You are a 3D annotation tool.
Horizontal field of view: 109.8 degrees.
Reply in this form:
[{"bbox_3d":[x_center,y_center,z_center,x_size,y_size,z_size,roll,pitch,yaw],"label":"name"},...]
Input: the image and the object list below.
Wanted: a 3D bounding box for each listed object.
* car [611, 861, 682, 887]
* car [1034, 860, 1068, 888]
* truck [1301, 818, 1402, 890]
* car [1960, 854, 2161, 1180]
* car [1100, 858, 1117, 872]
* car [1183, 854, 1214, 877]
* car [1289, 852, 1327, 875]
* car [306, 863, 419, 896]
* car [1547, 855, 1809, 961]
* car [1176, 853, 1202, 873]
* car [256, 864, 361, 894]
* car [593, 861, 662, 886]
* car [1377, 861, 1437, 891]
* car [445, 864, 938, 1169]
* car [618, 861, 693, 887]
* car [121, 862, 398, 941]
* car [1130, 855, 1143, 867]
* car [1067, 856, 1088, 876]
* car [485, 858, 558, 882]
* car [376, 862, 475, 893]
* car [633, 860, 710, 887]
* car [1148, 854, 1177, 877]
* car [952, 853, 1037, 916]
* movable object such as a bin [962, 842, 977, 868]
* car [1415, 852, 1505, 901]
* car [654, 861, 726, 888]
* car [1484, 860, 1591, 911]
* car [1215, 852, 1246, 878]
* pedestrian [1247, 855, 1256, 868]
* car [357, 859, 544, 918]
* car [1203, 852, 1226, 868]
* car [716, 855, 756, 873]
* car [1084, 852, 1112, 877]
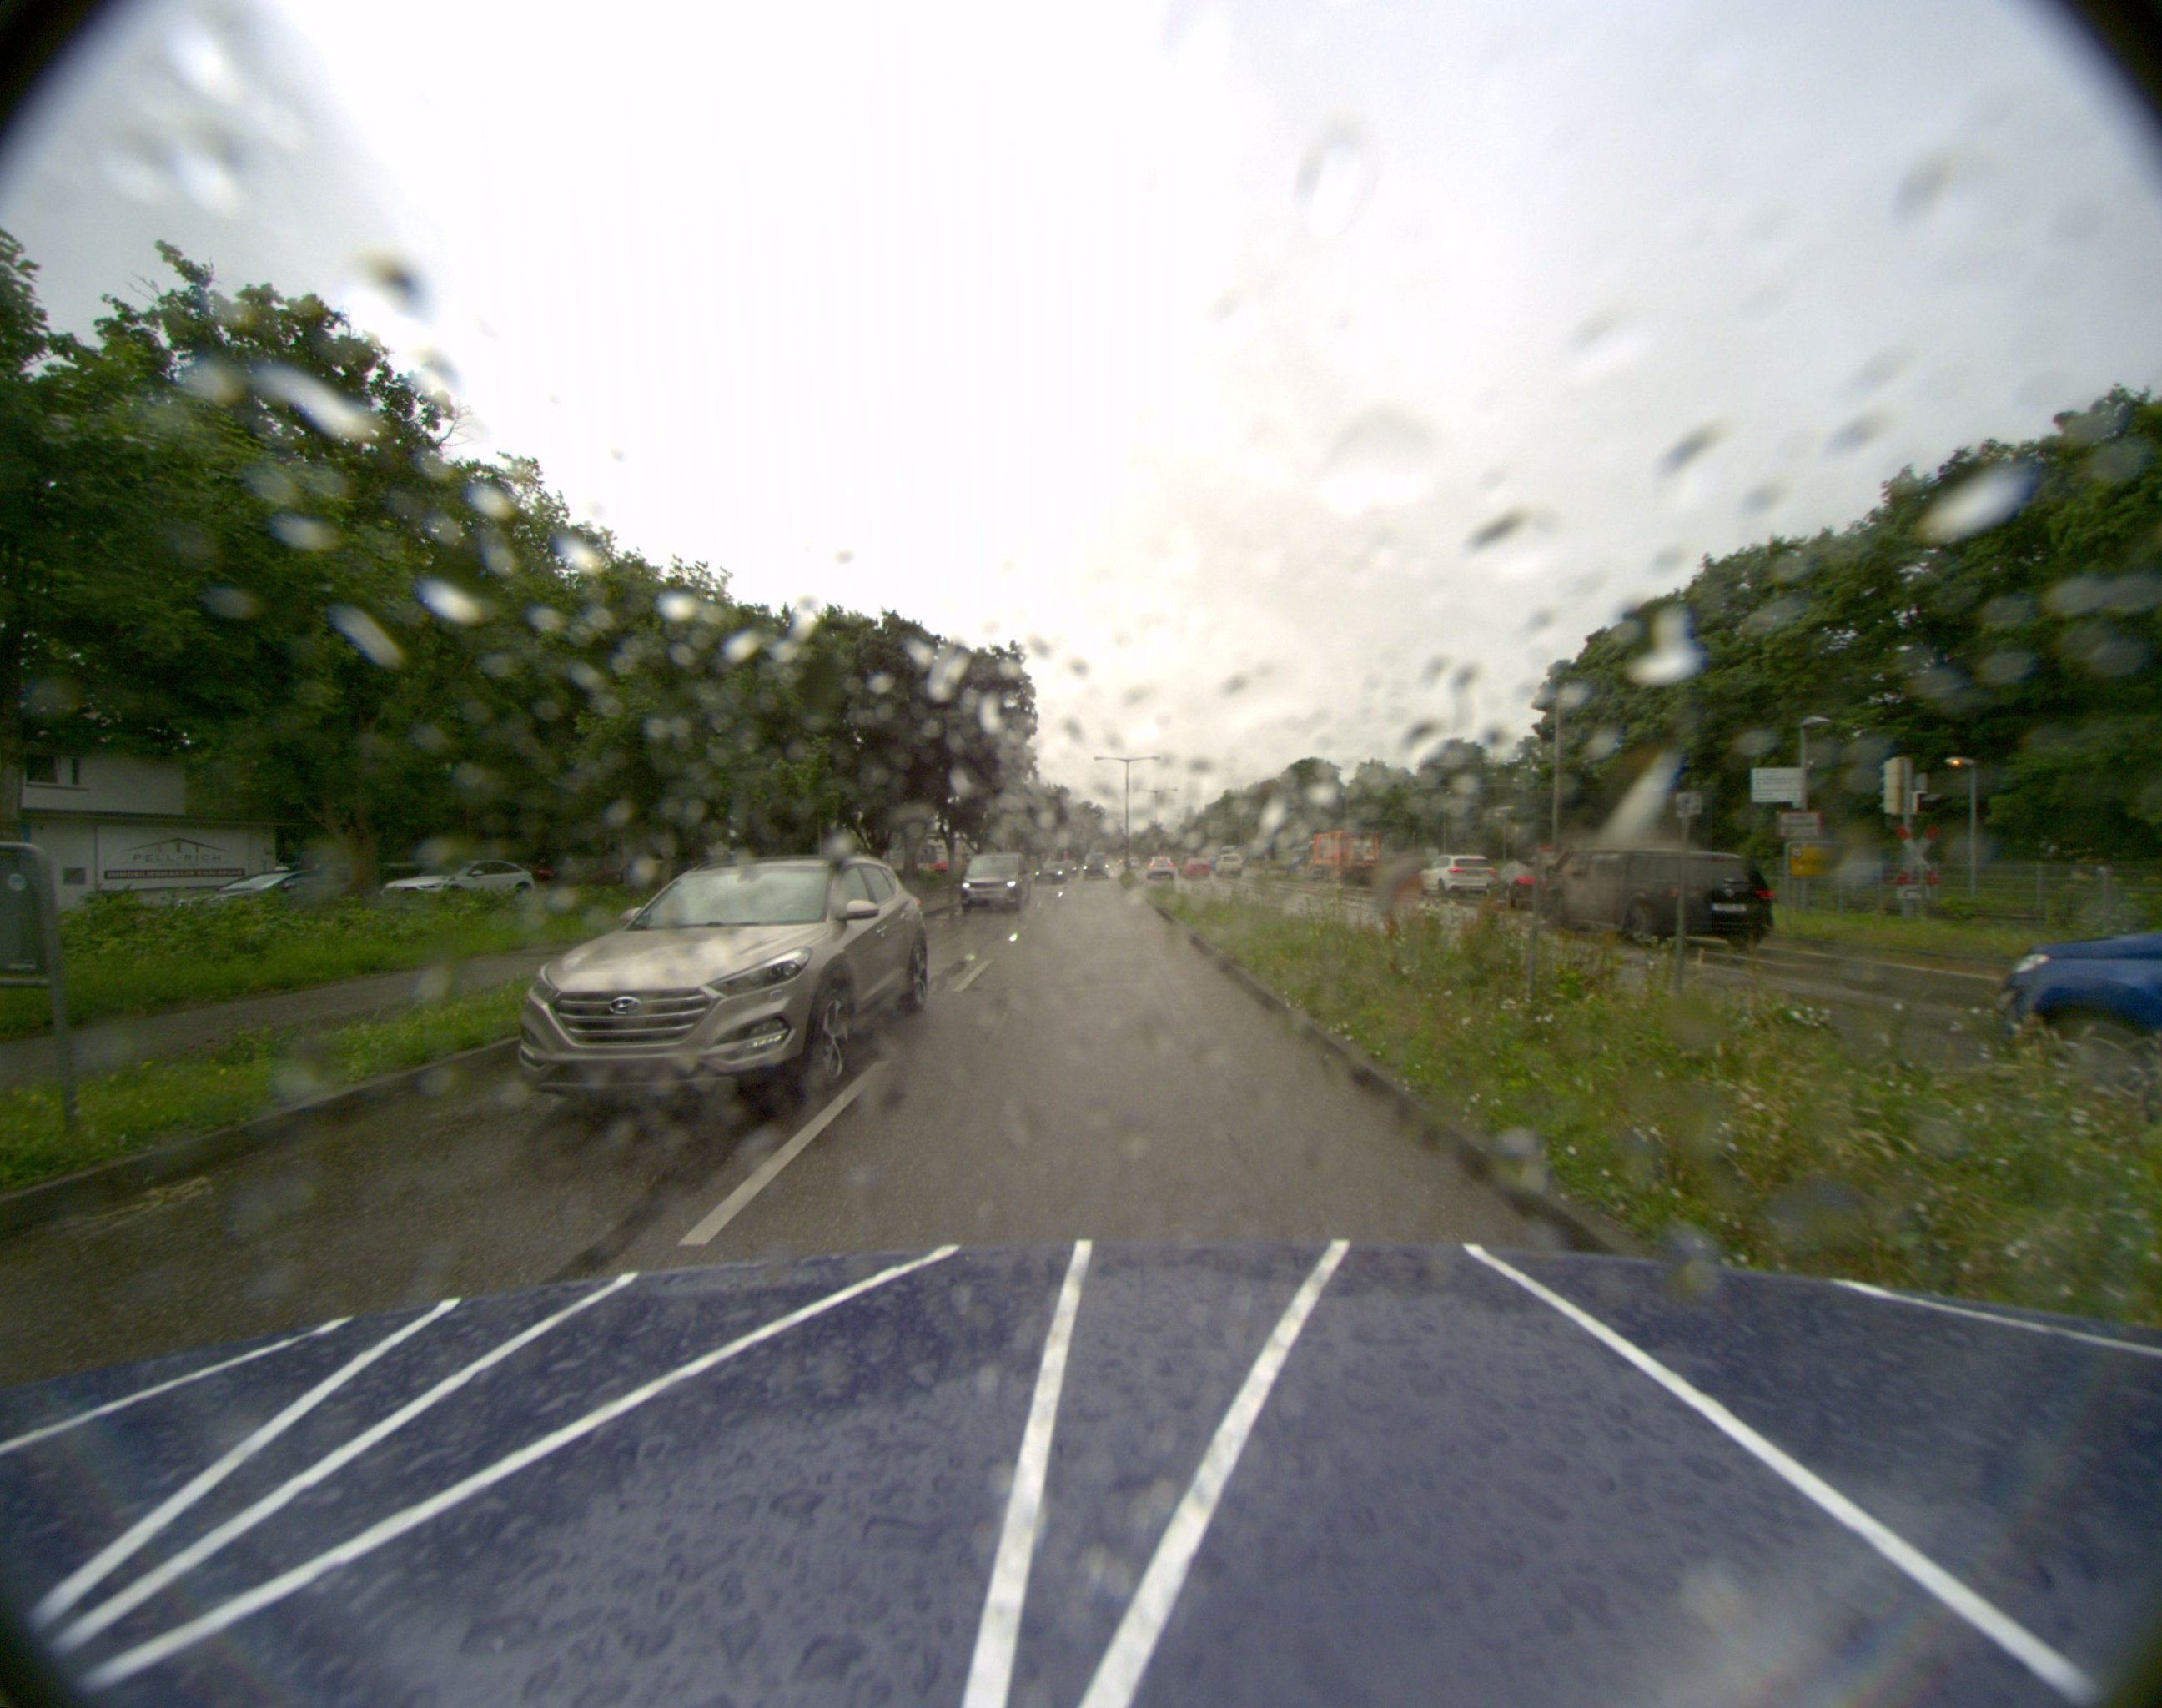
[{"bbox_3d":[-28.647,1.305,50.120,3.759,1.441,1.665,-3,1,-39],"label":"car"},{"bbox_3d":[-1.938,1.276,50.157,1.858,1.583,4.000,-3,1,3],"label":"car"},{"bbox_3d":[17.599,-0.033,50.335,3.392,4.143,10.408,-3,1,3],"label":"truck"},{"bbox_3d":[6.282,0.834,2.629,1.748,1.640,4.137,1,0,2],"label":"car"},{"bbox_3d":[3.550,1.345,96.513,1.898,1.601,4.001,-3,1,4],"label":"car"},{"bbox_3d":[8.778,0.818,57.150,1.805,1.560,4.429,1,1,3],"label":"car"},{"bbox_3d":[18.634,0.719,62.471,1.998,1.699,4.527,-3,1,4],"label":"car"},{"bbox_3d":[-34.946,1.179,37.102,1.587,1.377,4.000,-3,0,1],"label":"car"},{"bbox_3d":[10.680,0.844,14.081,1.710,1.632,4.332,1,0,5],"label":"car"},{"bbox_3d":[9.623,0.779,68.015,1.810,1.763,5.090,1,0,3],"label":"car"},{"bbox_3d":[-43.242,1.376,42.591,3.997,1.448,1.735,-3,1,-1],"label":"car"},{"bbox_3d":[-30.667,1.287,51.388,3.759,1.441,1.599,-3,1,-39],"label":"car"},{"bbox_3d":[16.613,1.103,38.894,1.591,1.370,3.687,1,0,3],"label":"car"},{"bbox_3d":[-2.577,0.939,6.359,1.889,1.601,4.195,-1,0,0],"label":"car"},{"bbox_3d":[-26.800,1.237,47.941,1.665,1.441,3.759,-2,1,42],"label":"car"},{"bbox_3d":[-20.768,1.102,19.595,1.998,1.707,4.641,0,1,1],"label":"car"},{"bbox_3d":[7.610,0.933,103.905,1.740,1.535,4.014,-1,1,6],"label":"car"},{"bbox_3d":[-0.269,1.033,67.975,1.651,1.652,3.777,-3,1,2],"label":"car"},{"bbox_3d":[-43.207,1.236,58.719,4.292,1.601,1.900,-3,1,4],"label":"car"},{"bbox_3d":[-32.366,1.137,37.652,1.576,1.308,3.702,-2,1,1],"label":"car"},{"bbox_3d":[-24.997,1.166,46.432,1.665,1.441,3.759,-2,1,42],"label":"car"},{"bbox_3d":[6.065,0.831,56.991,1.965,1.607,4.698,0,0,3],"label":"car"},{"bbox_3d":[-2.697,0.908,24.761,1.998,1.785,4.563,-2,0,3],"label":"car"},{"bbox_3d":[-19.819,0.184,134.904,1.557,4.400,3.910,-3,1,5],"label":"movable object such as a bin"},{"bbox_3d":[15.829,0.876,32.041,1.997,1.817,4.774,-3,1,9],"label":"car"},{"bbox_3d":[-22.742,1.194,44.228,3.395,1.344,1.521,-3,1,-42],"label":"car"},{"bbox_3d":[14.816,0.953,24.928,1.874,1.477,4.512,0,0,16],"label":"car"},{"bbox_3d":[12.470,0.888,63.729,1.933,2.006,4.744,1,0,4],"label":"car"},{"bbox_3d":[22.433,0.935,99.916,0.783,1.648,0.803,-3,1,-14],"label":"pedestrian"},{"bbox_3d":[-20.487,1.045,25.056,1.998,1.707,4.878,0,1,1],"label":"car"},{"bbox_3d":[13.408,0.587,76.654,1.645,1.419,4.000,1,1,1],"label":"car"},{"bbox_3d":[-40.749,1.198,89.719,4.185,1.953,1.929,-2,1,25],"label":"car"},{"bbox_3d":[1.310,0.783,57.641,1.811,1.683,3.778,-3,1,4],"label":"car"}]
